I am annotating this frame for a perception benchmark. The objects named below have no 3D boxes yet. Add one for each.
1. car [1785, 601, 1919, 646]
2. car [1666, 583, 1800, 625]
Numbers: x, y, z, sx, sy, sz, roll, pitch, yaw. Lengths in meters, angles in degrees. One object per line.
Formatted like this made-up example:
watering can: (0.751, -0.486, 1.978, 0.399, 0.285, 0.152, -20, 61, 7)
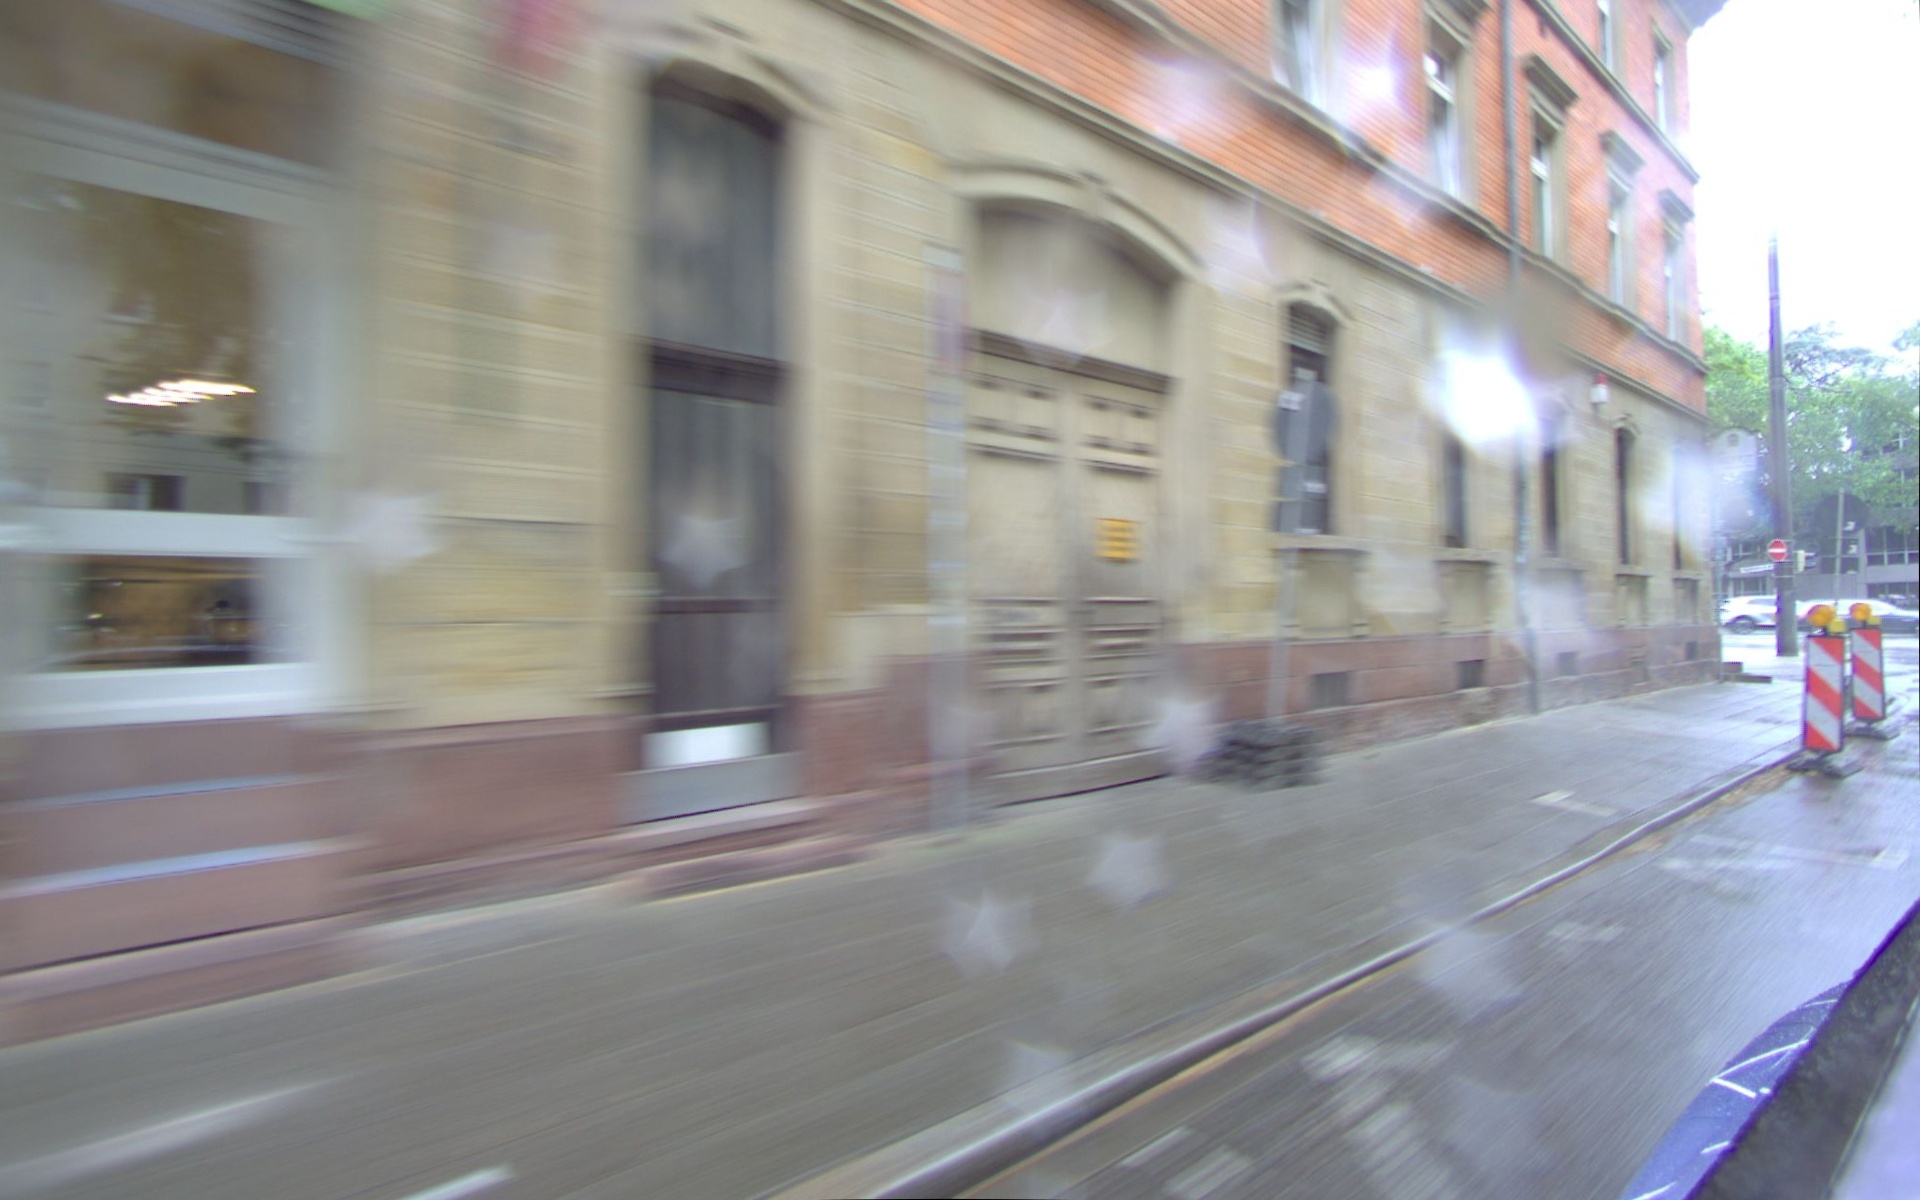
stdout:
car: (34.640, 0.898, 38.181, 5.305, 1.613, 1.922, -2, -2, 38)
car: (33.860, 0.183, 44.524, 4.525, 1.681, 1.765, -2, -1, 35)
